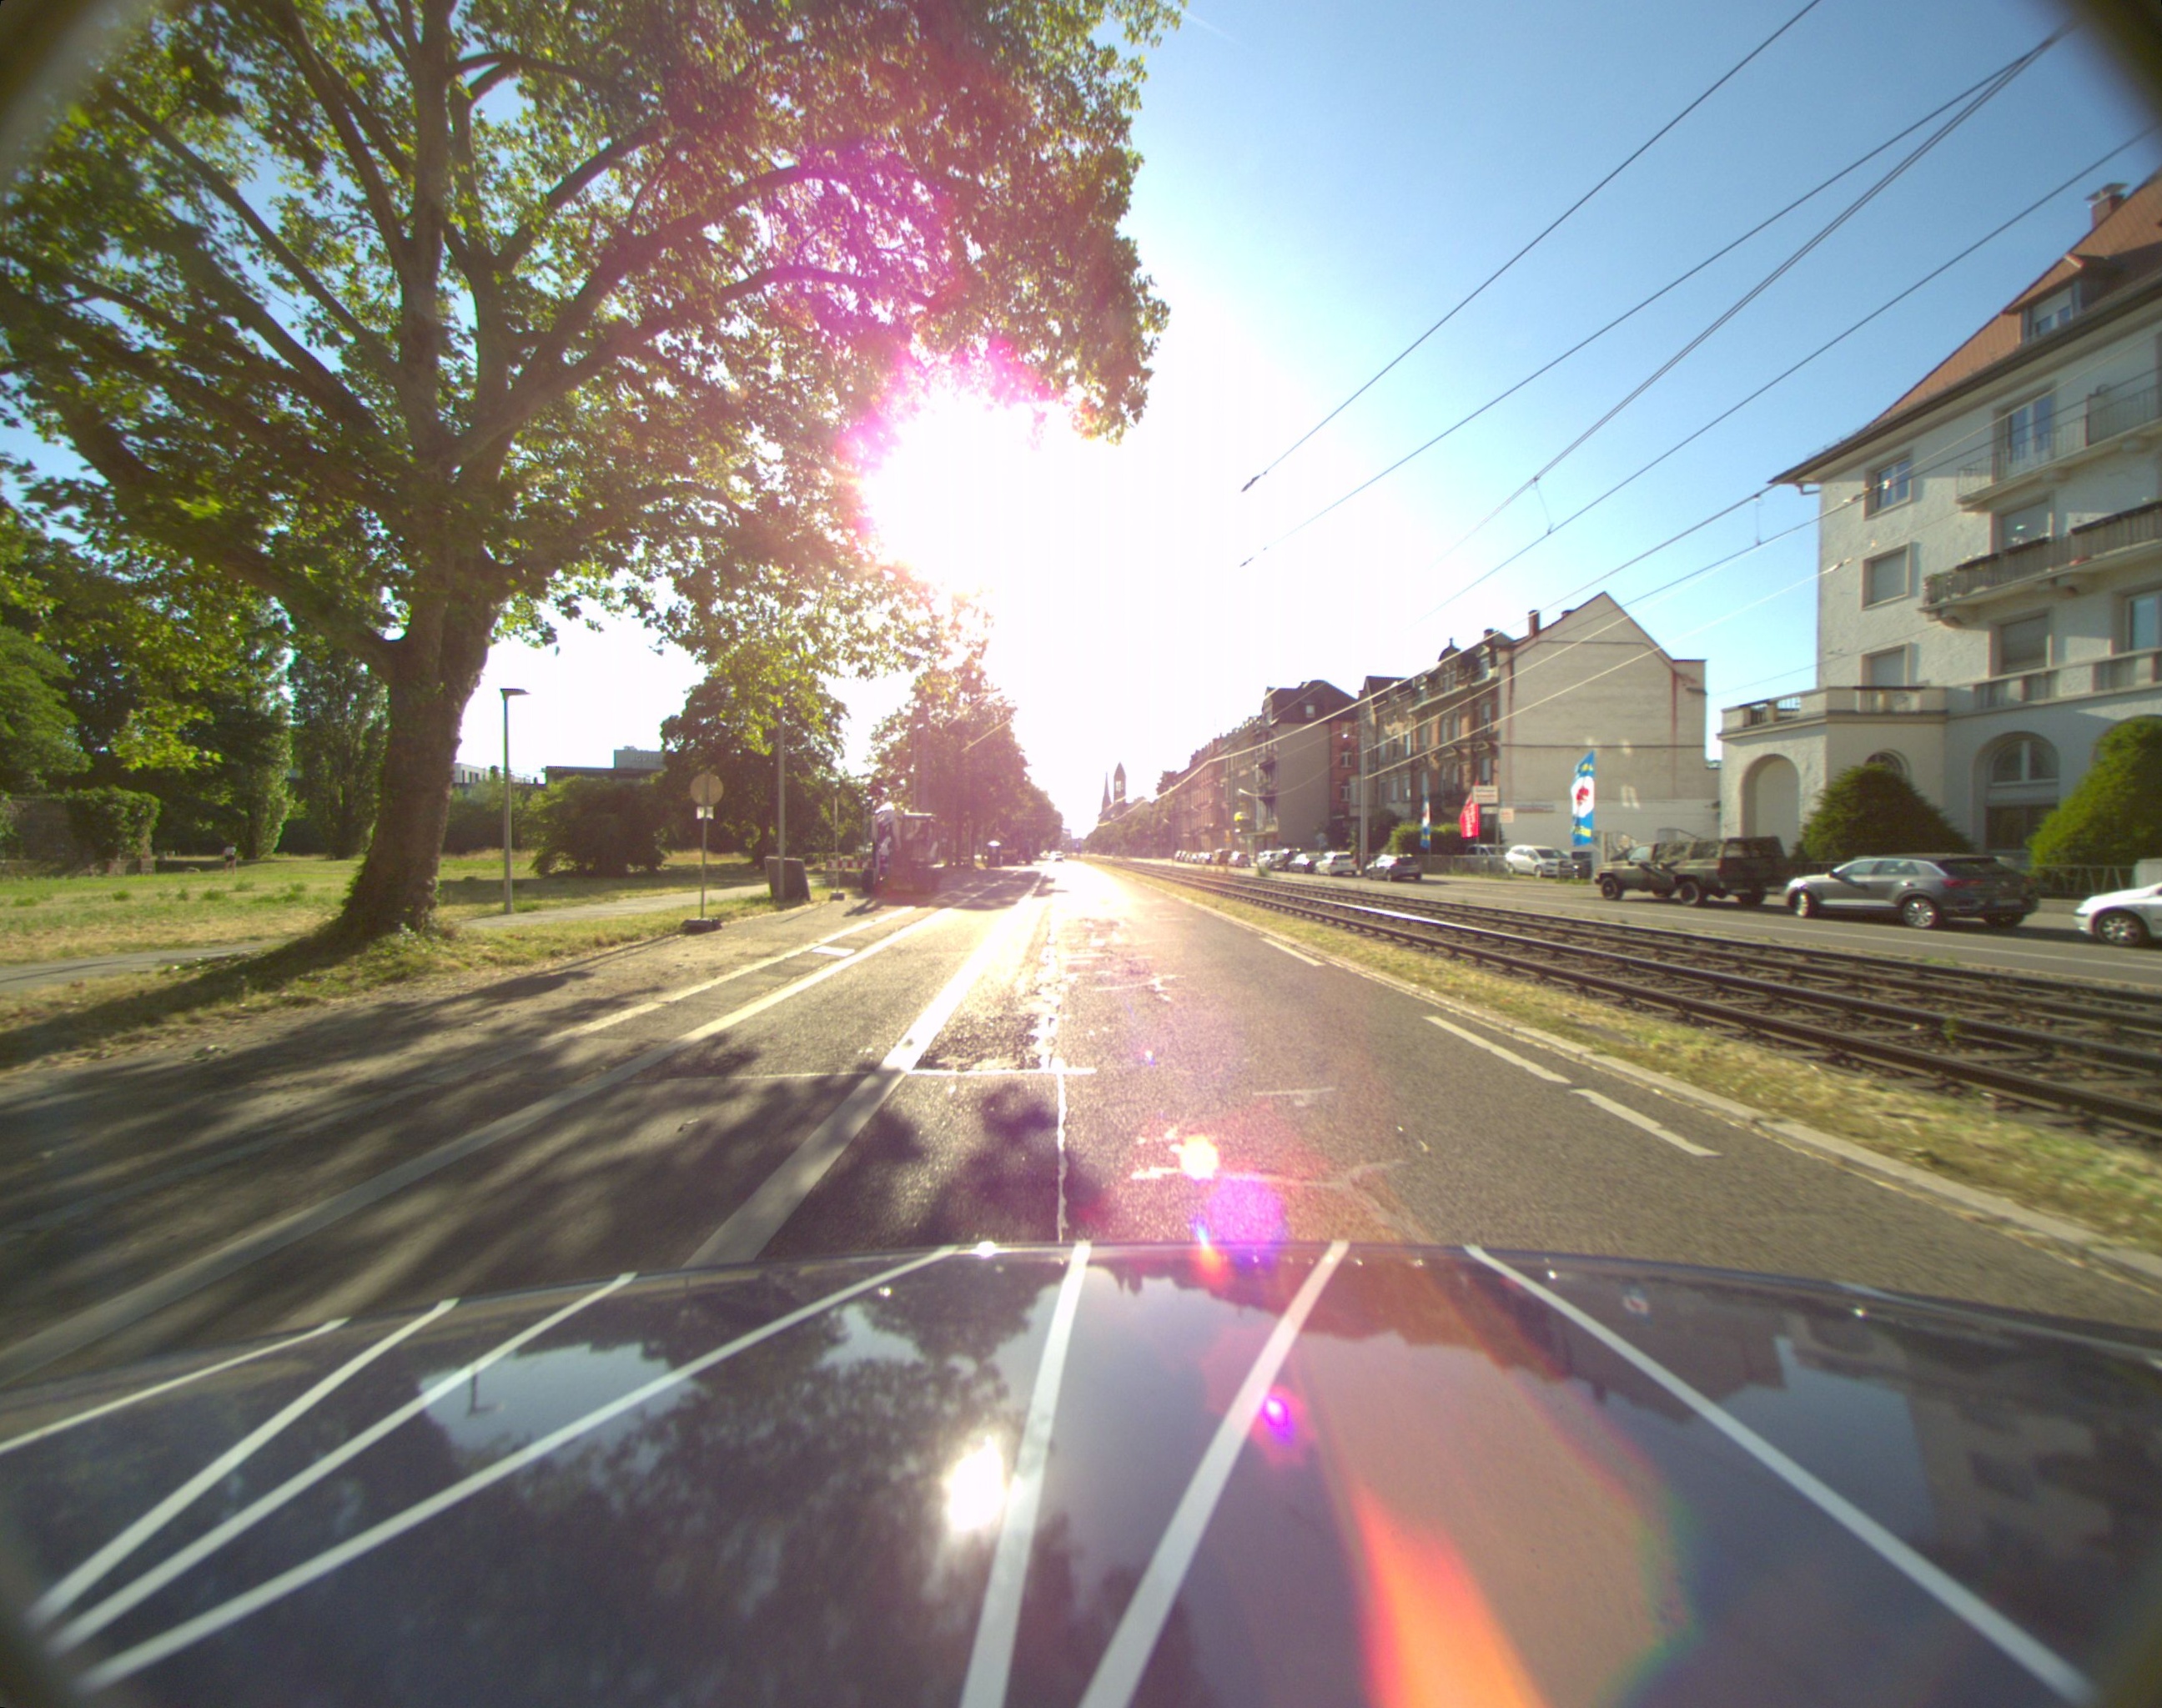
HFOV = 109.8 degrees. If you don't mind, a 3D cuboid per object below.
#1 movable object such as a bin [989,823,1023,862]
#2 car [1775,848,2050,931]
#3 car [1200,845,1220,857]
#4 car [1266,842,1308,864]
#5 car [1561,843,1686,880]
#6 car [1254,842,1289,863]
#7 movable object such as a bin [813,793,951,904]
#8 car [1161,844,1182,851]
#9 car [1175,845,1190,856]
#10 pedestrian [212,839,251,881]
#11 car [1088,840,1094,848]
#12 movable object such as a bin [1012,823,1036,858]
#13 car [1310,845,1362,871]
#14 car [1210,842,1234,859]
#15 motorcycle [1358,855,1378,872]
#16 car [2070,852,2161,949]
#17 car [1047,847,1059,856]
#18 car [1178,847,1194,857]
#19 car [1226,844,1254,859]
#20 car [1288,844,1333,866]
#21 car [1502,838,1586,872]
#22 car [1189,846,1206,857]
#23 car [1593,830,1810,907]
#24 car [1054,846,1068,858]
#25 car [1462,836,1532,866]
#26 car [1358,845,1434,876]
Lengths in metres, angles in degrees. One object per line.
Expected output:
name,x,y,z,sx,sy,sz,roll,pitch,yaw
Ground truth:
movable object such as a bin,-8.339,-1.275,85.535,3.348,3.953,7.594,3,1,-3
car,18.325,0.683,17.091,1.639,1.499,4.158,-2,2,0
car,15.975,-0.360,94.221,1.664,1.437,3.979,-2,1,-1
car,17.231,-0.101,63.781,1.926,1.770,4.495,-2,1,-6
car,24.259,0.336,34.111,4.136,1.623,1.953,0,-1,8
car,17.177,-0.158,68.882,1.926,1.674,4.624,-1,2,-1
movable object such as a bin,-6.514,-0.185,26.112,2.751,3.127,7.217,3,1,0
car,19.316,-1.399,161.939,3.991,1.502,1.802,-1,2,20
car,15.890,-0.559,119.356,1.799,1.634,4.630,-2,1,1
pedestrian,-42.151,0.271,37.720,0.868,2.002,1.266,-3,2,-33
car,3.292,-3.234,251.729,1.799,2.766,3.998,0,1,-2
movable object such as a bin,-7.870,-1.833,105.464,2.922,4.584,7.594,3,1,-3
car,17.411,0.235,52.146,1.925,1.685,4.841,-2,1,1
car,16.391,-0.435,88.464,1.664,1.797,4.726,-2,1,-3
motorcycle,17.942,0.555,47.519,0.827,0.949,2.153,-2,2,13
car,18.552,0.791,11.562,1.799,1.502,3.999,-2,1,0
car,-4.661,-0.458,126.121,1.799,1.501,3.999,-2,1,-2
car,15.841,-0.362,114.638,1.664,1.437,3.764,-2,1,-1
car,17.151,-0.310,82.018,1.926,1.529,4.626,-1,1,-1
car,17.389,0.051,57.818,1.925,1.552,4.841,-2,1,1
car,25.206,-0.012,41.579,1.908,1.646,4.560,1,3,2
car,16.076,-0.398,104.843,1.664,1.437,3.979,-2,1,-1
car,18.606,0.354,23.271,2.082,1.998,5.590,-2,1,0
car,-2.755,-0.227,102.480,1.799,1.501,3.999,-2,1,-2
car,25.634,-0.241,47.028,1.908,1.646,4.560,1,3,2
car,17.633,0.326,42.824,1.926,1.452,4.840,-5,1,-3
